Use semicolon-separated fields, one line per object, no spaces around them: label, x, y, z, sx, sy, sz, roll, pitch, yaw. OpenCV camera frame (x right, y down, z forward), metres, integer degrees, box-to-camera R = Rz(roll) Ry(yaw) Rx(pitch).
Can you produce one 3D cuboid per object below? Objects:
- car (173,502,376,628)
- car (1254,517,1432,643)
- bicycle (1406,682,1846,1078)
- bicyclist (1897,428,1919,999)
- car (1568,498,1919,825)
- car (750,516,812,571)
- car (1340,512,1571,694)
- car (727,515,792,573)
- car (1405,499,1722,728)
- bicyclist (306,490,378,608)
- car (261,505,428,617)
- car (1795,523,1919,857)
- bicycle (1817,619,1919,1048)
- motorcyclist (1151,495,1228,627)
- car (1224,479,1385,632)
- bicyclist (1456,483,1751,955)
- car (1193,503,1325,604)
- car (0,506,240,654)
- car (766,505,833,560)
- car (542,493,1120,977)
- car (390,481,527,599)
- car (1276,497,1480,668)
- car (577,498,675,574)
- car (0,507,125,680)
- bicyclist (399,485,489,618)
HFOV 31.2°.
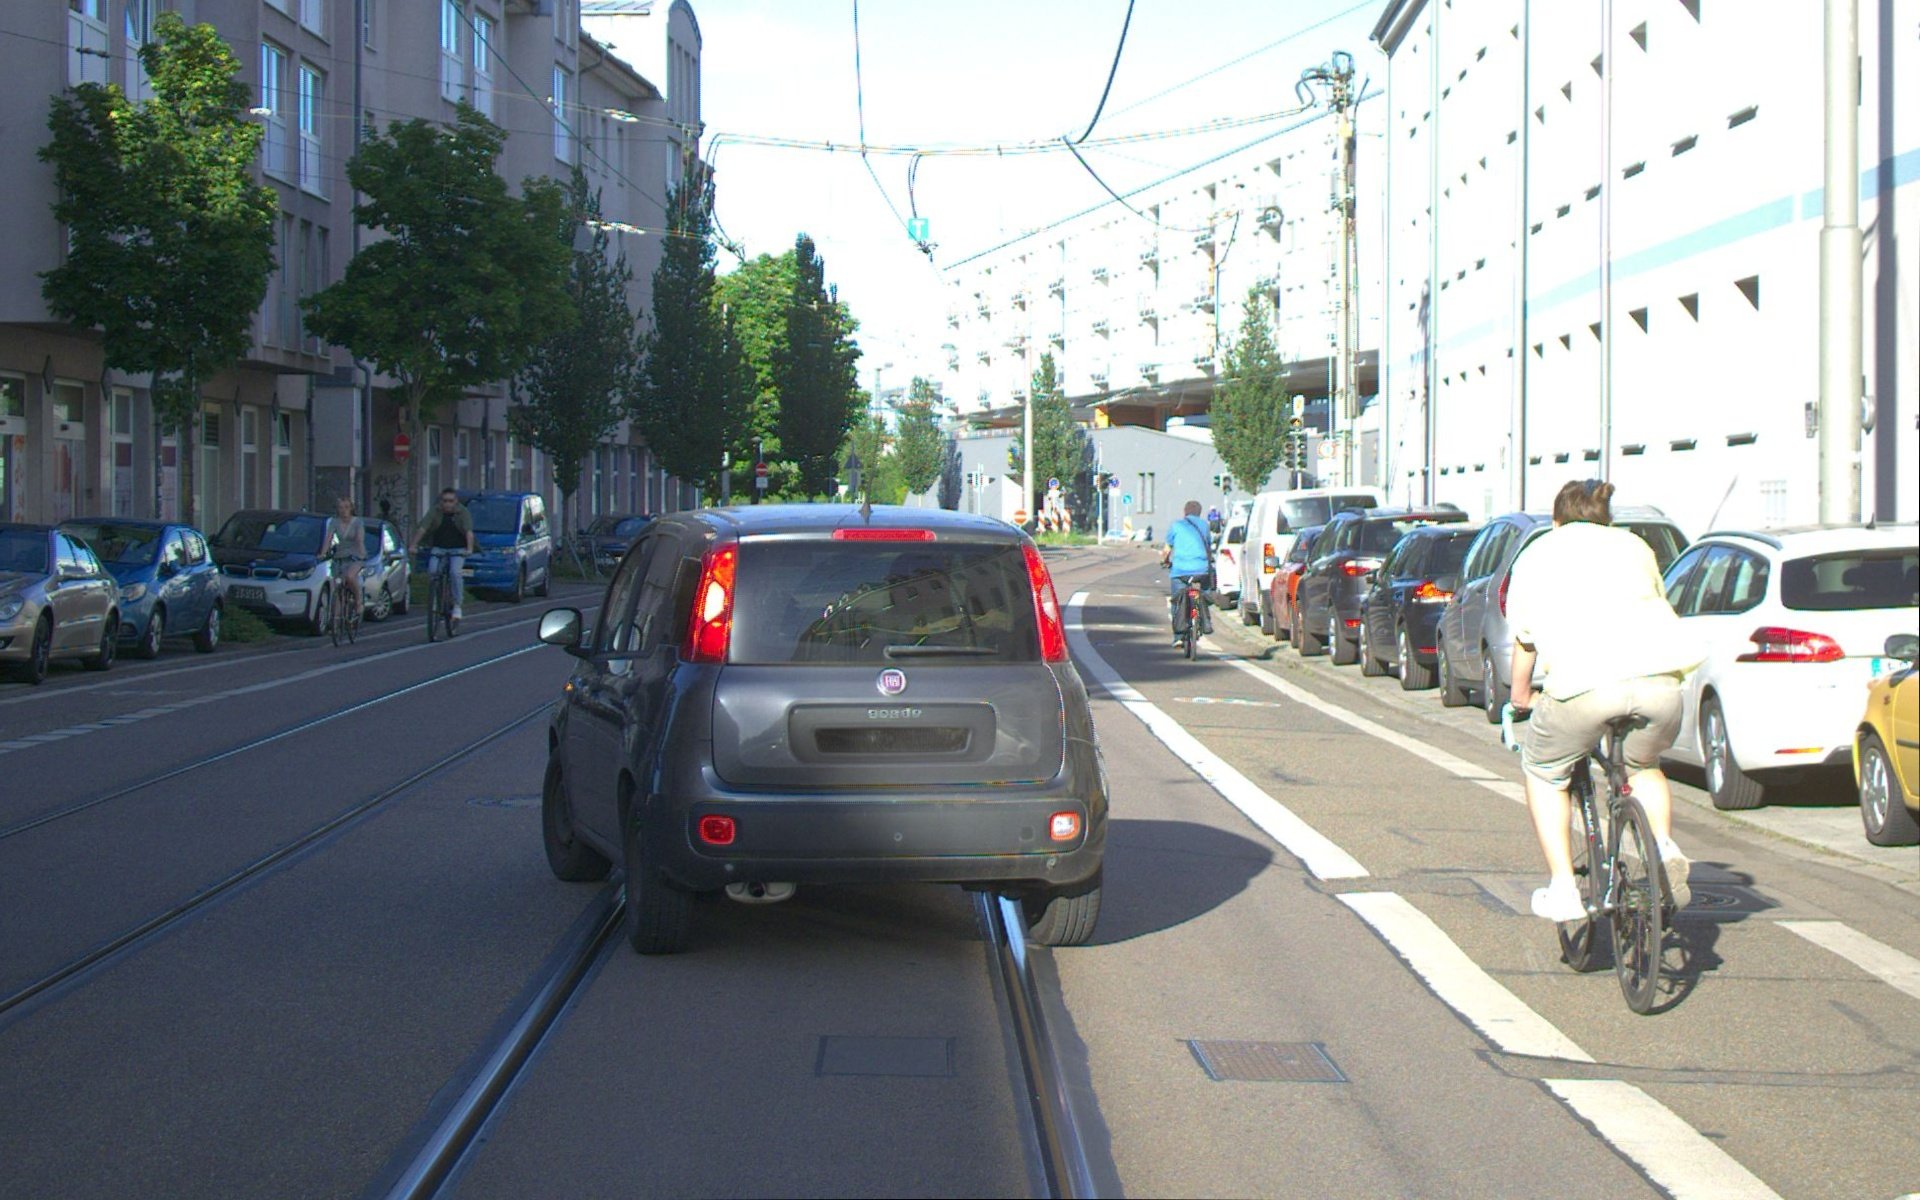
car;-9.100;-0.502;45.923;1.830;1.588;4.000;0;2;1
car;4.715;-0.287;42.723;1.795;1.478;3.779;0;2;0
bicycle;2.049;0.819;11.042;0.738;0.921;2.837;3;2;-2
bicyclist;3.286;0.343;9.788;0.934;1.670;0.970;0;2;-1
car;4.663;0.236;19.132;1.679;1.565;4.510;-1;2;-1
car;-5.124;-1.632;98.450;1.591;1.535;3.191;0;2;0
car;4.568;-0.028;32.159;1.591;1.532;4.007;-2;2;1
car;-5.502;-1.553;94.439;1.591;1.535;3.191;0;2;0
car;4.622;0.043;26.852;1.754;1.565;3.904;-3;2;1
bicyclist;-7.482;-0.624;41.644;0.623;1.375;0.868;-4;2;-1
car;-9.128;-0.615;51.267;1.829;1.588;4.001;0;2;-1
car;4.918;0.390;14.815;1.513;1.426;4.202;-1;2;-1
bicycle;3.271;0.724;10.044;0.821;1.232;2.462;2;2;-2
motorcyclist;2.467;-0.432;37.071;0.727;1.401;1.021;0;2;-1
car;4.653;-0.641;46.918;1.786;1.964;4.155;-1;2;1
bicyclist;2.059;0.355;11.122;0.727;1.457;1.021;0;2;-1
car;5.038;-0.821;58.398;1.844;1.640;4.549;0;2;0
car;-9.281;-0.264;37.947;1.829;1.484;4.001;-2;2;-1
car;-4.866;-2.058;104.573;1.844;1.640;3.698;0;2;0
car;-0.608;0.427;12.708;1.556;1.528;3.487;1;0;-12
car;-8.704;-1.067;59.920;1.665;1.980;4.343;0;2;1
car;4.465;-0.241;37.219;1.660;1.664;3.904;-3;2;0
car;-7.284;-1.427;75.300;1.665;1.612;4.000;0;2;1
car;-9.138;-0.121;32.050;1.744;1.438;4.001;3;2;-1
bicyclist;-6.259;-0.596;41.717;0.881;1.556;0.868;-3;1;-1
